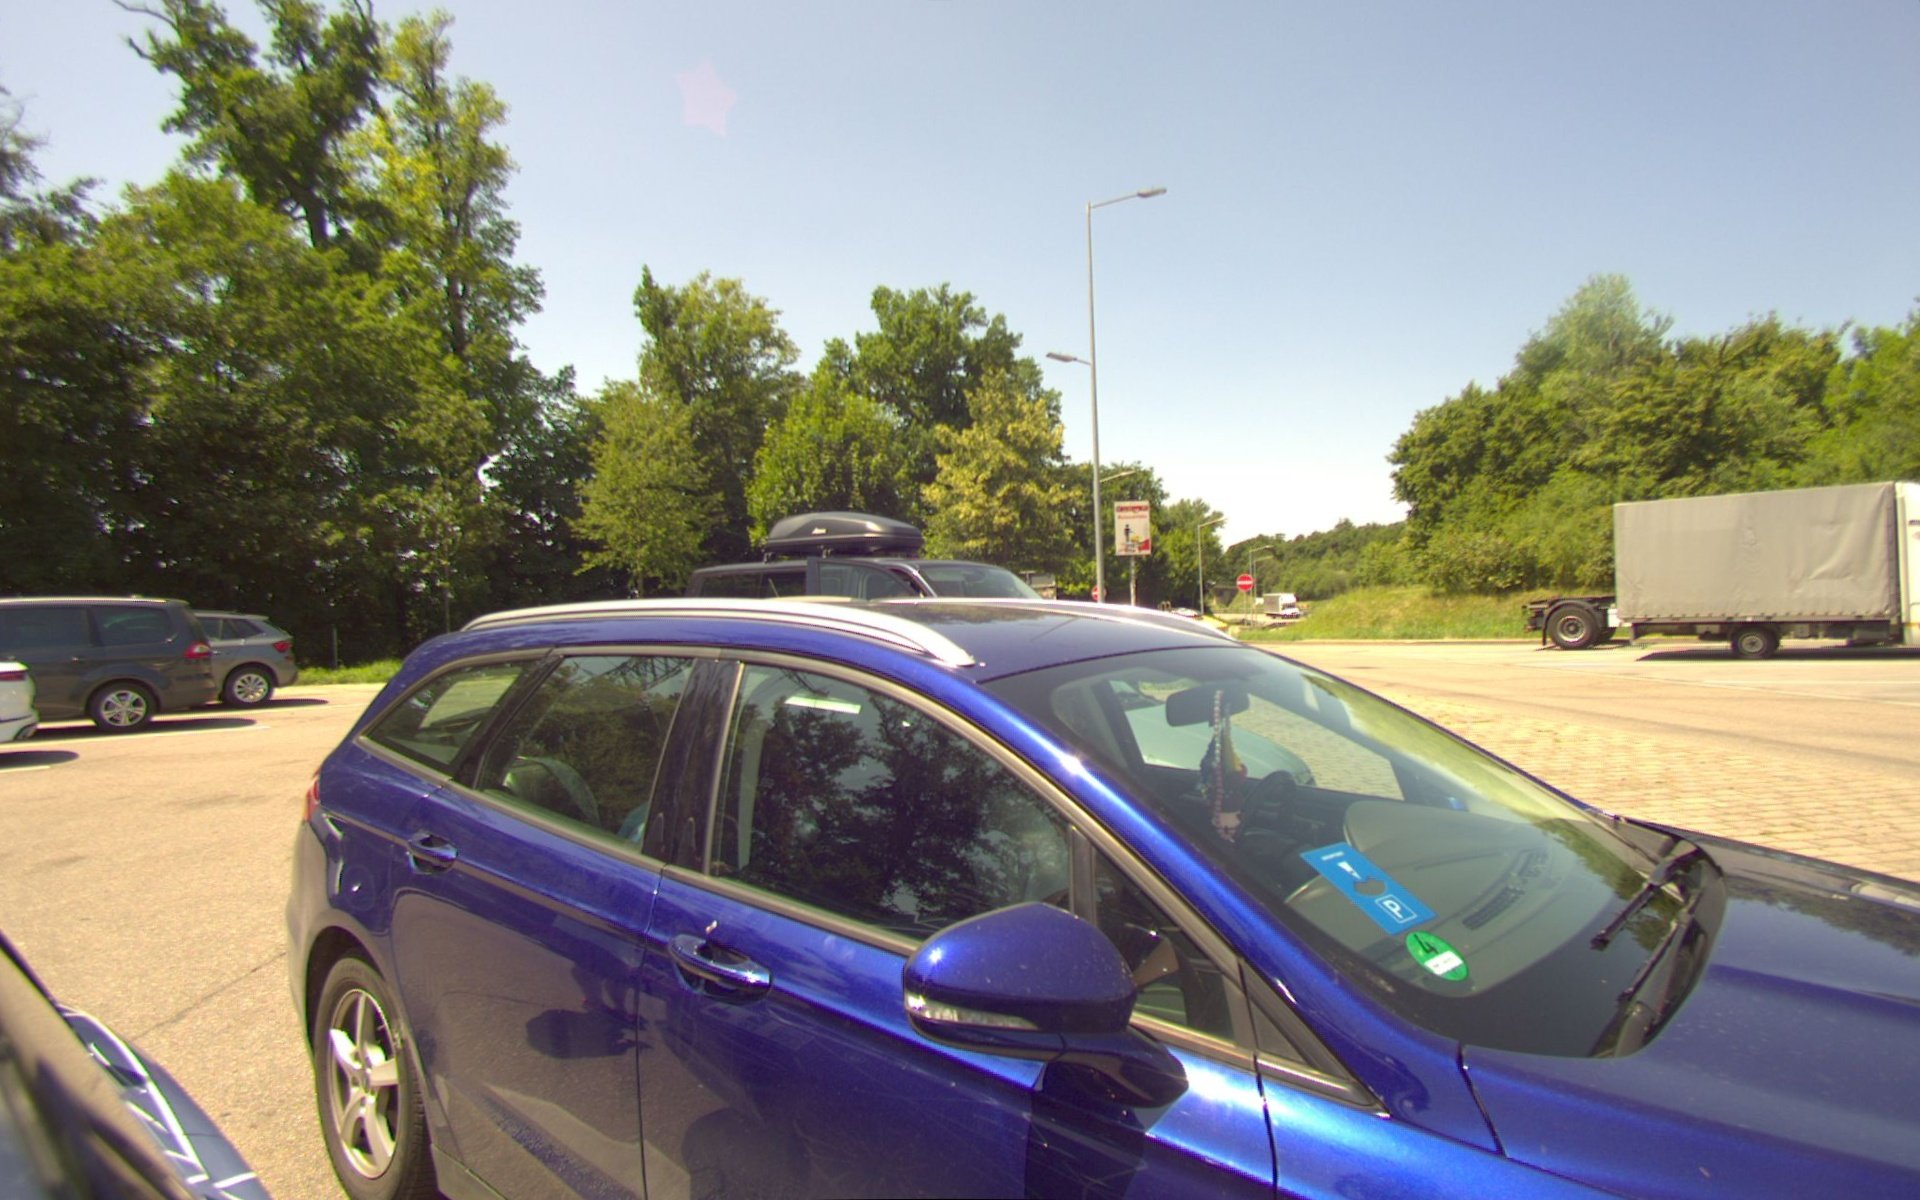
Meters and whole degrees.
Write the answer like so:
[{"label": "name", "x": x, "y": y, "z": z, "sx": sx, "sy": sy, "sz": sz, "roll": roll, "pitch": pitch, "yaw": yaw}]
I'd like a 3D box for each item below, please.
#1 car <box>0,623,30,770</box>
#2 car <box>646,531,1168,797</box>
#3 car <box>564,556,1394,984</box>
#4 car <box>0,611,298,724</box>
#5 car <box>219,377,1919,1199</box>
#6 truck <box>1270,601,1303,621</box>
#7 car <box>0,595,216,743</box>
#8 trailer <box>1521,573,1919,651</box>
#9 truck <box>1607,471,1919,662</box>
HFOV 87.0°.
[{"label": "car", "x": -10.992, "y": 0.933, "z": 9.166, "sx": 3.767, "sy": 1.396, "sz": 1.722, "roll": 0, "pitch": -1, "yaw": -43}, {"label": "car", "x": -0.655, "y": 0.512, "z": 9.366, "sx": 4.635, "sy": 1.884, "sz": 1.937, "roll": -2, "pitch": 0, "yaw": 37}, {"label": "car", "x": -0.212, "y": 0.674, "z": 5.792, "sx": 4.637, "sy": 1.545, "sz": 1.720, "roll": -2, "pitch": 0, "yaw": 39}, {"label": "car", "x": -12.589, "y": 0.957, "z": 15.711, "sx": 3.762, "sy": 1.551, "sz": 1.724, "roll": 0, "pitch": -1, "yaw": -38}, {"label": "car", "x": 0.250, "y": 0.636, "z": 2.080, "sx": 4.637, "sy": 1.493, "sz": 1.720, "roll": -2, "pitch": -1, "yaw": 39}, {"label": "truck", "x": 49.377, "y": 1.617, "z": 153.218, "sx": 2.427, "sy": 2.980, "sz": 5.849, "roll": -1, "pitch": 0, "yaw": -8}, {"label": "car", "x": -11.651, "y": 0.823, "z": 12.630, "sx": 3.762, "sy": 1.737, "sz": 1.724, "roll": 0, "pitch": -1, "yaw": -38}, {"label": "trailer", "x": 17.641, "y": 0.317, "z": 23.160, "sx": 8.088, "sy": 1.385, "sz": 2.200, "roll": -4, "pitch": -1, "yaw": 41}, {"label": "truck", "x": 16.712, "y": -0.596, "z": 18.938, "sx": 7.337, "sy": 3.235, "sz": 2.502, "roll": -4, "pitch": -1, "yaw": 41}]
